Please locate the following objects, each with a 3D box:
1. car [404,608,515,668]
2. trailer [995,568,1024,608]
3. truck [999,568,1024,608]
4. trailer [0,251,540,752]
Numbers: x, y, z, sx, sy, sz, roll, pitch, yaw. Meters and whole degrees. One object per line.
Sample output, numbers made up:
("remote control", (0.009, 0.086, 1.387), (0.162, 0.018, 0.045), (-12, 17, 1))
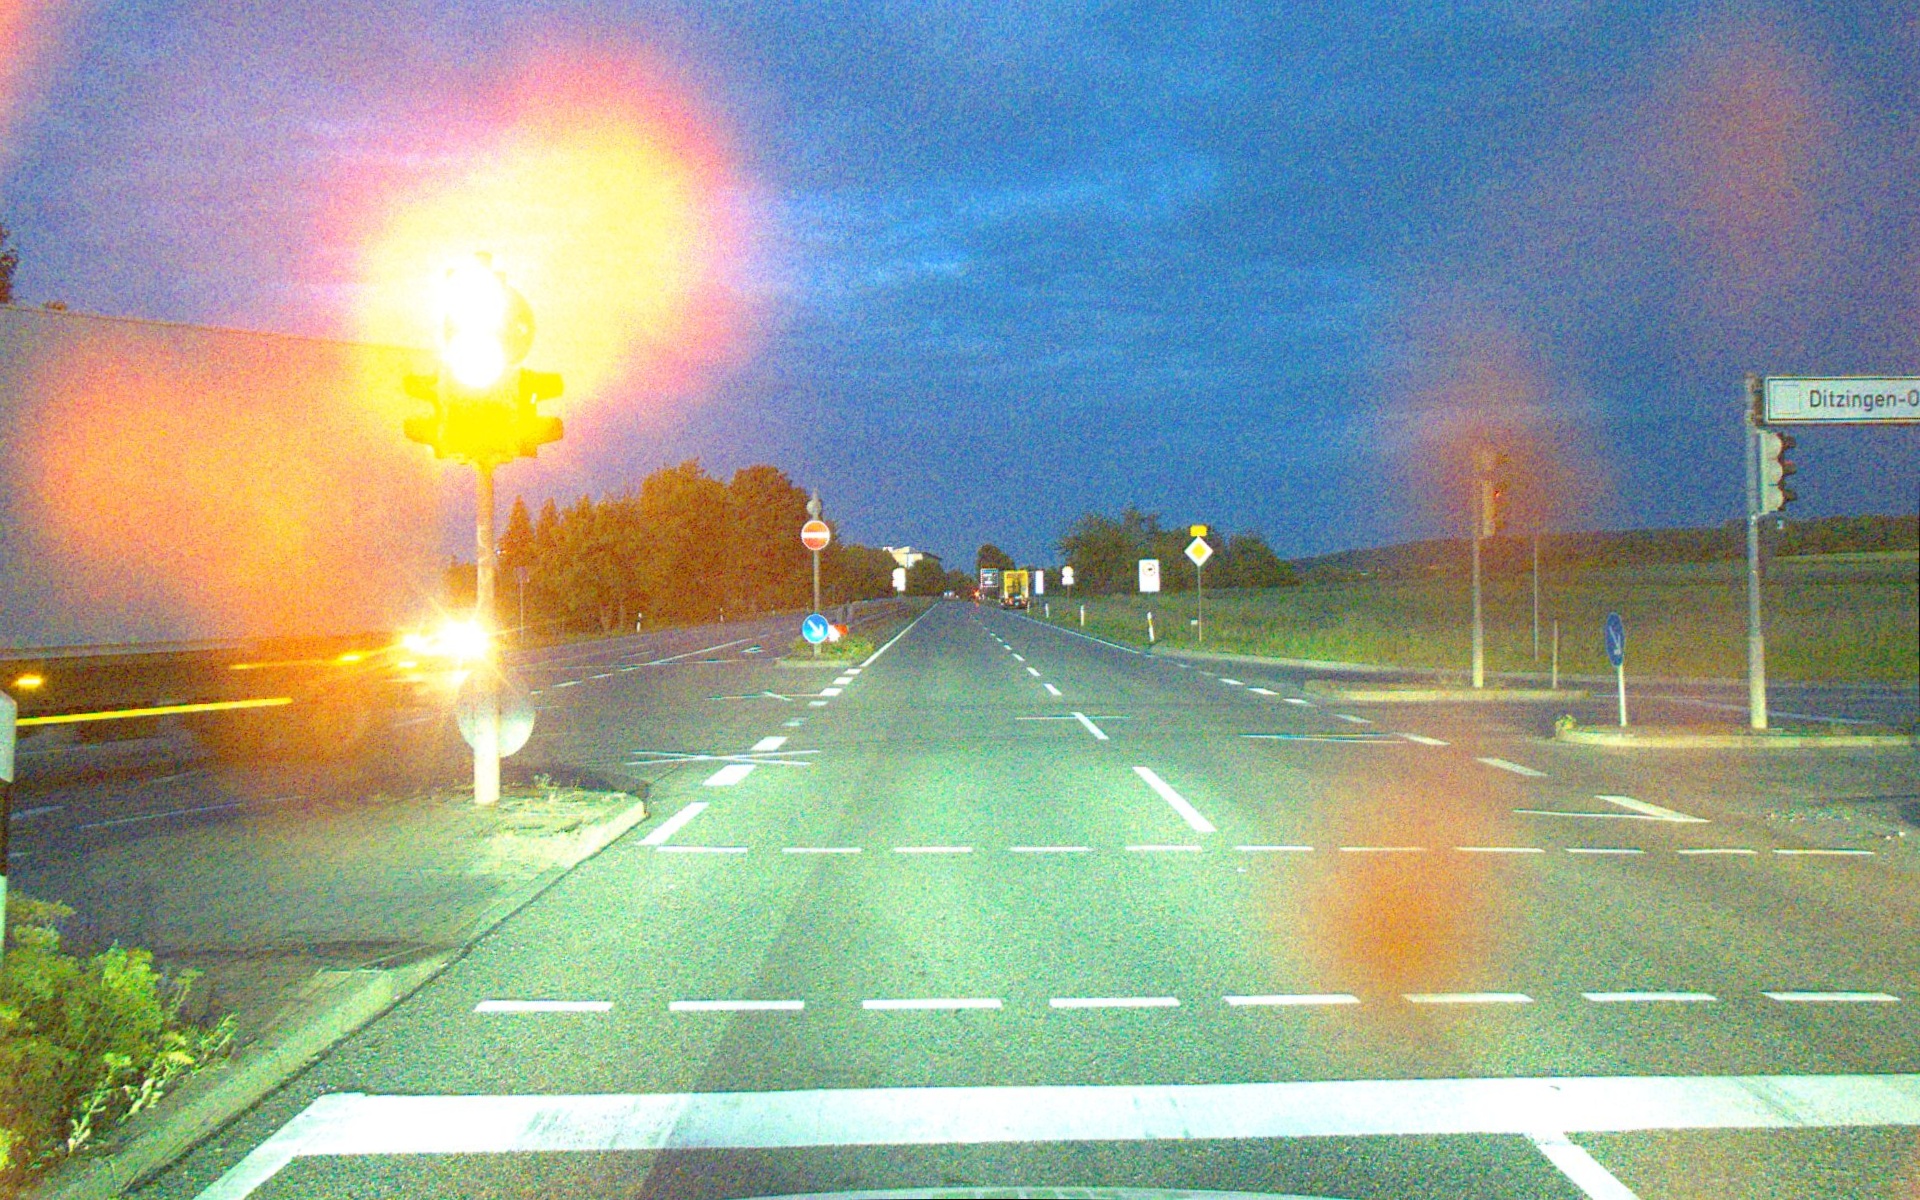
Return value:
("car", (-12.557, 0.934, 41.739), (1.618, 1.408, 4.029), (1, 0, -1))
("trailer", (5.388, -1.290, 181.773), (2.568, 4.175, 12.935), (-1, 0, 0))
("truck", (5.430, -1.261, 174.859), (2.526, 4.142, 6.130), (1, 1, 0))
("trailer", (-8.173, -0.794, 14.635), (2.537, 4.012, 8.832), (-1, 0, 39))
